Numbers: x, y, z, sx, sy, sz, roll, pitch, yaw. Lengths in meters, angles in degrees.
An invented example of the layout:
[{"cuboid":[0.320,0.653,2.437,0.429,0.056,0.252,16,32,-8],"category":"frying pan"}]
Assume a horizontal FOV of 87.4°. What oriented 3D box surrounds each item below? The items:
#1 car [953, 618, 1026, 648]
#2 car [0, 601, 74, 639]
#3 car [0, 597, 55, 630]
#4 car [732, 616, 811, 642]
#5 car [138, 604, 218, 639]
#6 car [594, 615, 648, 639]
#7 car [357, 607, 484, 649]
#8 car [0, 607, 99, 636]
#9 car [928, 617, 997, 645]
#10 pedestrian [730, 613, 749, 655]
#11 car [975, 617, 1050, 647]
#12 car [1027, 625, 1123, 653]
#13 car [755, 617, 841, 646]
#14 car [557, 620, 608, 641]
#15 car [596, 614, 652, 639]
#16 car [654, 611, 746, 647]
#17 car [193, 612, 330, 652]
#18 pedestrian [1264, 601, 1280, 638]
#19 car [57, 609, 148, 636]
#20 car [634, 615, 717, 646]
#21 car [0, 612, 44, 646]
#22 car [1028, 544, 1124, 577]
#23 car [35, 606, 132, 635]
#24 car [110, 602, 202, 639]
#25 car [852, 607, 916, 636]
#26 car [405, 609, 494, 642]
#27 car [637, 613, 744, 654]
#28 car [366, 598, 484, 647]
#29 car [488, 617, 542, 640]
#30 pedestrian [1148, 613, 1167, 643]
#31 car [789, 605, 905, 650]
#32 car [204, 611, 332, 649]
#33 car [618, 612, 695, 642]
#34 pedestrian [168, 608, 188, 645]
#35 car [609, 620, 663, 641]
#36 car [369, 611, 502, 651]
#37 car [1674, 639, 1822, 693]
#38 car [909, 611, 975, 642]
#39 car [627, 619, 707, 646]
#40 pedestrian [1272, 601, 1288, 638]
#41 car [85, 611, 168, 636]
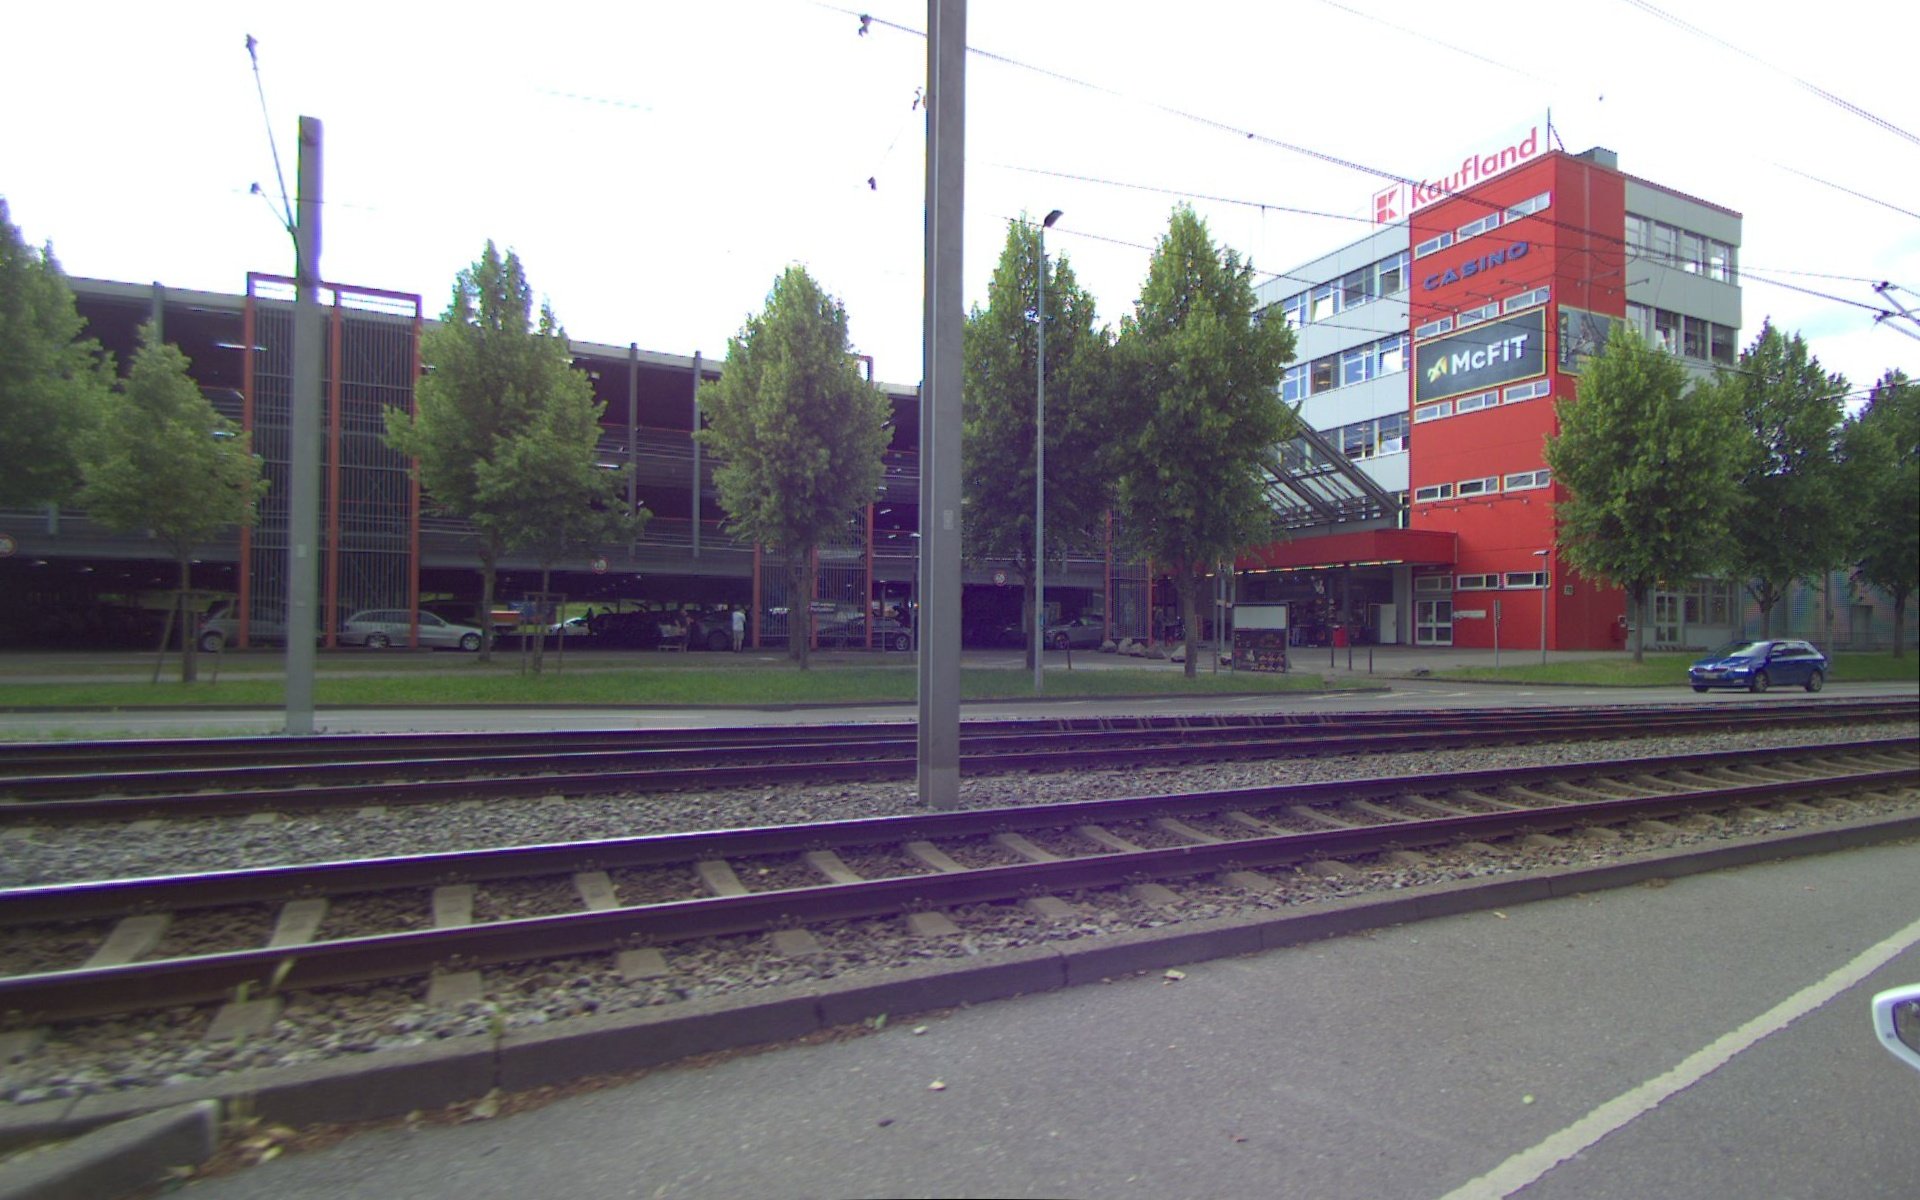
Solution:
[{"cuboid":[1.627,1.829,55.443,3.764,1.572,1.667,2,-4,-29],"category":"car"},{"cuboid":[-39.351,0.824,41.602,3.603,1.521,1.707,1,-1,-24],"category":"car"},{"cuboid":[-37.799,0.511,39.338,3.174,1.240,1.434,2,-3,-26],"category":"car"},{"cuboid":[-10.368,1.610,55.321,3.950,1.408,1.781,2,-2,-28],"category":"car"},{"cuboid":[-48.299,1.378,62.112,3.482,2.040,1.836,2,-3,-24],"category":"car"},{"cuboid":[-24.436,1.966,72.426,3.482,1.657,1.836,2,-3,-24],"category":"car"},{"cuboid":[-19.793,1.076,37.031,4.001,1.451,1.835,2,-3,-27],"category":"car"},{"cuboid":[-41.698,0.983,45.879,3.254,1.287,1.529,1,-1,-24],"category":"car"},{"cuboid":[0.142,1.782,57.352,3.630,1.572,1.666,2,-1,-29],"category":"car"},{"cuboid":[-8.160,1.257,37.152,0.606,1.526,0.420,1,-1,-26],"category":"pedestrian"},{"cuboid":[2.781,1.705,53.343,3.596,1.572,1.760,2,-1,-29],"category":"car"},{"cuboid":[5.367,1.818,46.825,4.392,1.242,1.449,2,-1,-27],"category":"car"},{"cuboid":[-8.247,1.624,51.186,3.950,1.408,1.781,2,-2,-28],"category":"car"},{"cuboid":[-32.380,2.651,86.135,3.944,1.750,1.989,2,-3,-24],"category":"car"},{"cuboid":[-23.148,1.833,69.130,3.482,1.633,1.836,1,-1,-24],"category":"car"},{"cuboid":[-11.308,1.256,43.734,3.627,1.495,1.668,1,-1,-27],"category":"car"},{"cuboid":[-22.733,1.047,32.823,3.427,1.240,1.434,1,-1,-25],"category":"car"},{"cuboid":[17.413,1.082,56.082,0.546,2.040,0.599,1,-3,-25],"category":"pedestrian"},{"cuboid":[-43.277,1.151,50.764,3.174,1.240,1.434,2,-3,-26],"category":"car"},{"cuboid":[-13.694,1.487,48.387,3.627,1.437,1.668,1,-1,-27],"category":"car"},{"cuboid":[-35.892,1.062,36.746,3.174,1.240,1.434,2,-3,-26],"category":"car"},{"cuboid":[5.435,-1.823,46.871,4.392,1.242,1.431,2,-1,-27],"category":"car"},{"cuboid":[-41.920,1.002,48.102,3.174,1.240,1.434,2,-3,-26],"category":"car"},{"cuboid":[-47.414,1.221,59.324,3.800,2.040,1.955,2,-3,-24],"category":"car"},{"cuboid":[-4.652,1.327,61.820,3.578,1.677,1.642,2,-3,-27],"category":"car"},{"cuboid":[-25.799,1.302,50.892,3.947,1.596,1.808,1,-1,-26],"category":"car"},{"cuboid":[-10.101,1.252,37.676,3.627,1.495,1.668,1,-1,-27],"category":"car"},{"cuboid":[-20.921,0.904,39.452,4.001,1.838,1.834,1,-1,-27],"category":"car"},{"cuboid":[-36.739,2.393,83.023,3.944,1.750,1.989,2,-3,-24],"category":"car"},{"cuboid":[11.647,1.641,59.183,0.855,1.717,0.735,2,-3,-27],"category":"pedestrian"},{"cuboid":[-4.964,1.240,44.246,4.805,1.913,1.668,1,-1,-27],"category":"car"},{"cuboid":[-23.974,1.071,34.945,3.428,1.240,1.434,2,-3,-26],"category":"car"},{"cuboid":[-15.879,1.437,52.627,3.627,1.495,1.668,2,-3,-27],"category":"car"},{"cuboid":[-43.381,1.461,55.699,0.720,2.040,0.519,2,-3,-28],"category":"pedestrian"},{"cuboid":[-21.054,1.992,65.261,3.174,1.240,1.434,2,-3,-26],"category":"car"},{"cuboid":[-18.182,1.092,34.972,4.020,1.322,1.630,1,-1,-27],"category":"car"},{"cuboid":[22.066,1.833,28.147,3.664,1.411,1.657,1,-1,-22],"category":"car"},{"cuboid":[-1.063,1.612,60.039,3.578,1.735,1.656,2,-3,-27],"category":"car"},{"cuboid":[-14.689,1.637,50.443,3.627,1.302,1.668,2,-1,-27],"category":"car"},{"cuboid":[17.949,1.111,56.331,0.546,2.040,0.599,1,-3,-25],"category":"pedestrian"},{"cuboid":[-45.020,1.286,54.318,3.174,1.240,1.434,2,-3,-26],"category":"car"}]
